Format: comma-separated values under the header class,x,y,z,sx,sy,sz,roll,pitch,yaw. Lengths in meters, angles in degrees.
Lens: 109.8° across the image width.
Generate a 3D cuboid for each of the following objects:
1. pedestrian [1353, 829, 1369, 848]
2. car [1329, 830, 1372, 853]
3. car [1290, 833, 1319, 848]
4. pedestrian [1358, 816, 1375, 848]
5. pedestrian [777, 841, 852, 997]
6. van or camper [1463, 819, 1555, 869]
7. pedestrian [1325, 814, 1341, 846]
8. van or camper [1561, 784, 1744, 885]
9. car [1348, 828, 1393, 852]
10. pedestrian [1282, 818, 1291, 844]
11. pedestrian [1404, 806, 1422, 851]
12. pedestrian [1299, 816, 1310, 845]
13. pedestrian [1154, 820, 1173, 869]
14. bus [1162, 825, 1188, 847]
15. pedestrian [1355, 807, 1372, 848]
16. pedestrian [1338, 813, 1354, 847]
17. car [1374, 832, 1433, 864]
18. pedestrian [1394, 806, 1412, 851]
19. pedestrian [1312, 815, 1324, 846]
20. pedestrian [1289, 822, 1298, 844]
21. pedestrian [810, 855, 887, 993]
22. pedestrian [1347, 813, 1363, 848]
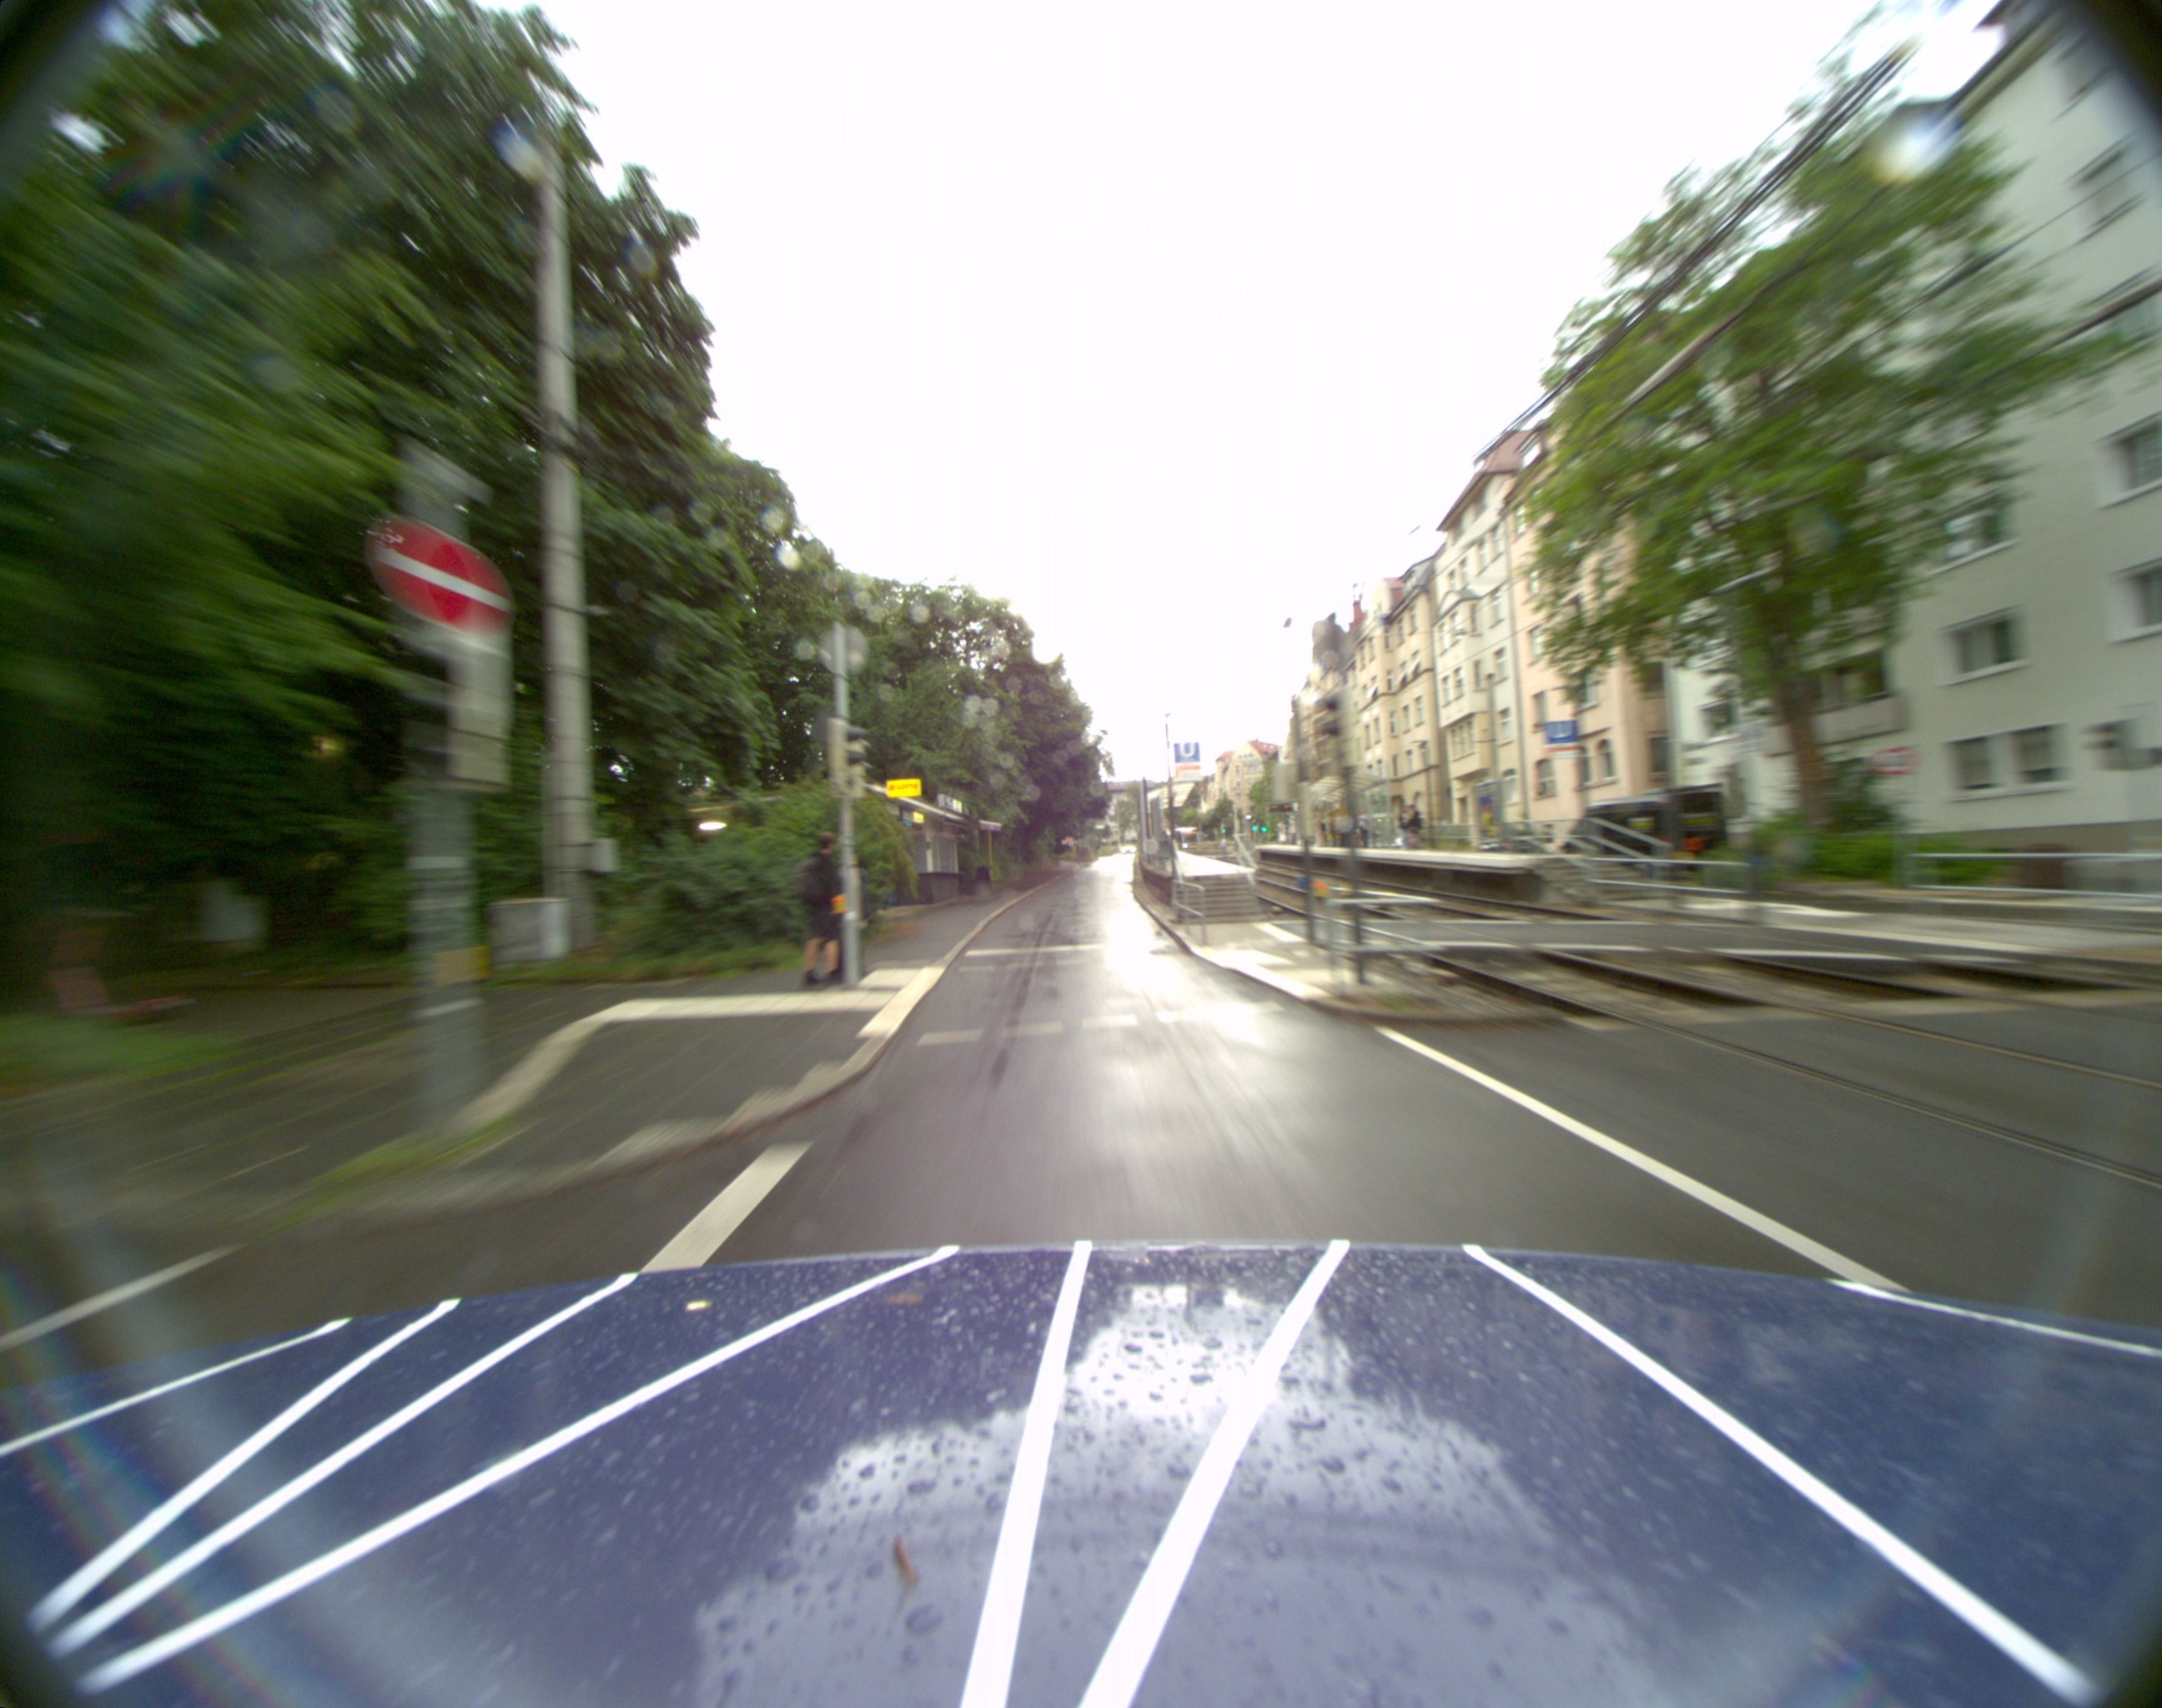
class,x,y,z,sx,sy,sz,roll,pitch,yaw
pedestrian,13.010,-0.741,35.289,0.551,0.867,0.614,-1,2,4
car,21.342,-1.016,60.349,1.998,1.524,4.532,-5,2,5
car,22.478,-1.373,76.541,1.721,1.434,4.868,-3,1,4
pedestrian,12.903,-0.986,34.387,0.551,1.405,0.614,-1,2,4
pedestrian,-3.192,0.753,9.156,0.555,1.803,0.650,-3,1,2
van or camper,18.781,-0.430,33.575,1.998,2.002,4.001,-2,1,4
pedestrian,13.224,-1.236,39.906,0.595,1.657,0.762,-1,2,4
van or camper,17.626,-0.561,23.816,1.999,2.789,4.862,-2,1,-1
car,20.767,-0.973,54.744,1.927,1.613,4.536,-1,1,6
pedestrian,14.661,-1.612,54.213,0.562,1.839,0.599,-1,2,4
pedestrian,12.696,-0.972,29.067,0.483,1.731,0.563,-1,2,4
pedestrian,14.513,-1.519,49.334,0.517,1.827,0.762,-1,2,4
pedestrian,3.102,-0.371,28.611,0.591,1.797,0.660,-4,2,3
bus,15.442,-2.895,125.497,2.598,3.449,9.102,-2,1,-3
pedestrian,12.323,-1.156,33.169,0.551,1.731,0.614,-1,2,4
pedestrian,13.110,-1.174,37.559,0.595,1.657,0.591,-1,2,4
car,19.562,-0.415,46.302,1.997,1.722,4.814,-1,2,7
pedestrian,12.558,-0.976,29.669,0.483,1.731,0.563,-1,2,4
pedestrian,14.284,-1.425,45.802,0.517,1.827,0.762,-1,2,4
pedestrian,14.979,-1.482,53.615,0.517,1.596,0.563,-1,2,4
pedestrian,-2.973,0.875,9.755,0.697,1.685,0.555,-3,1,2
pedestrian,13.131,-1.146,36.427,0.551,1.657,0.614,-1,2,4
